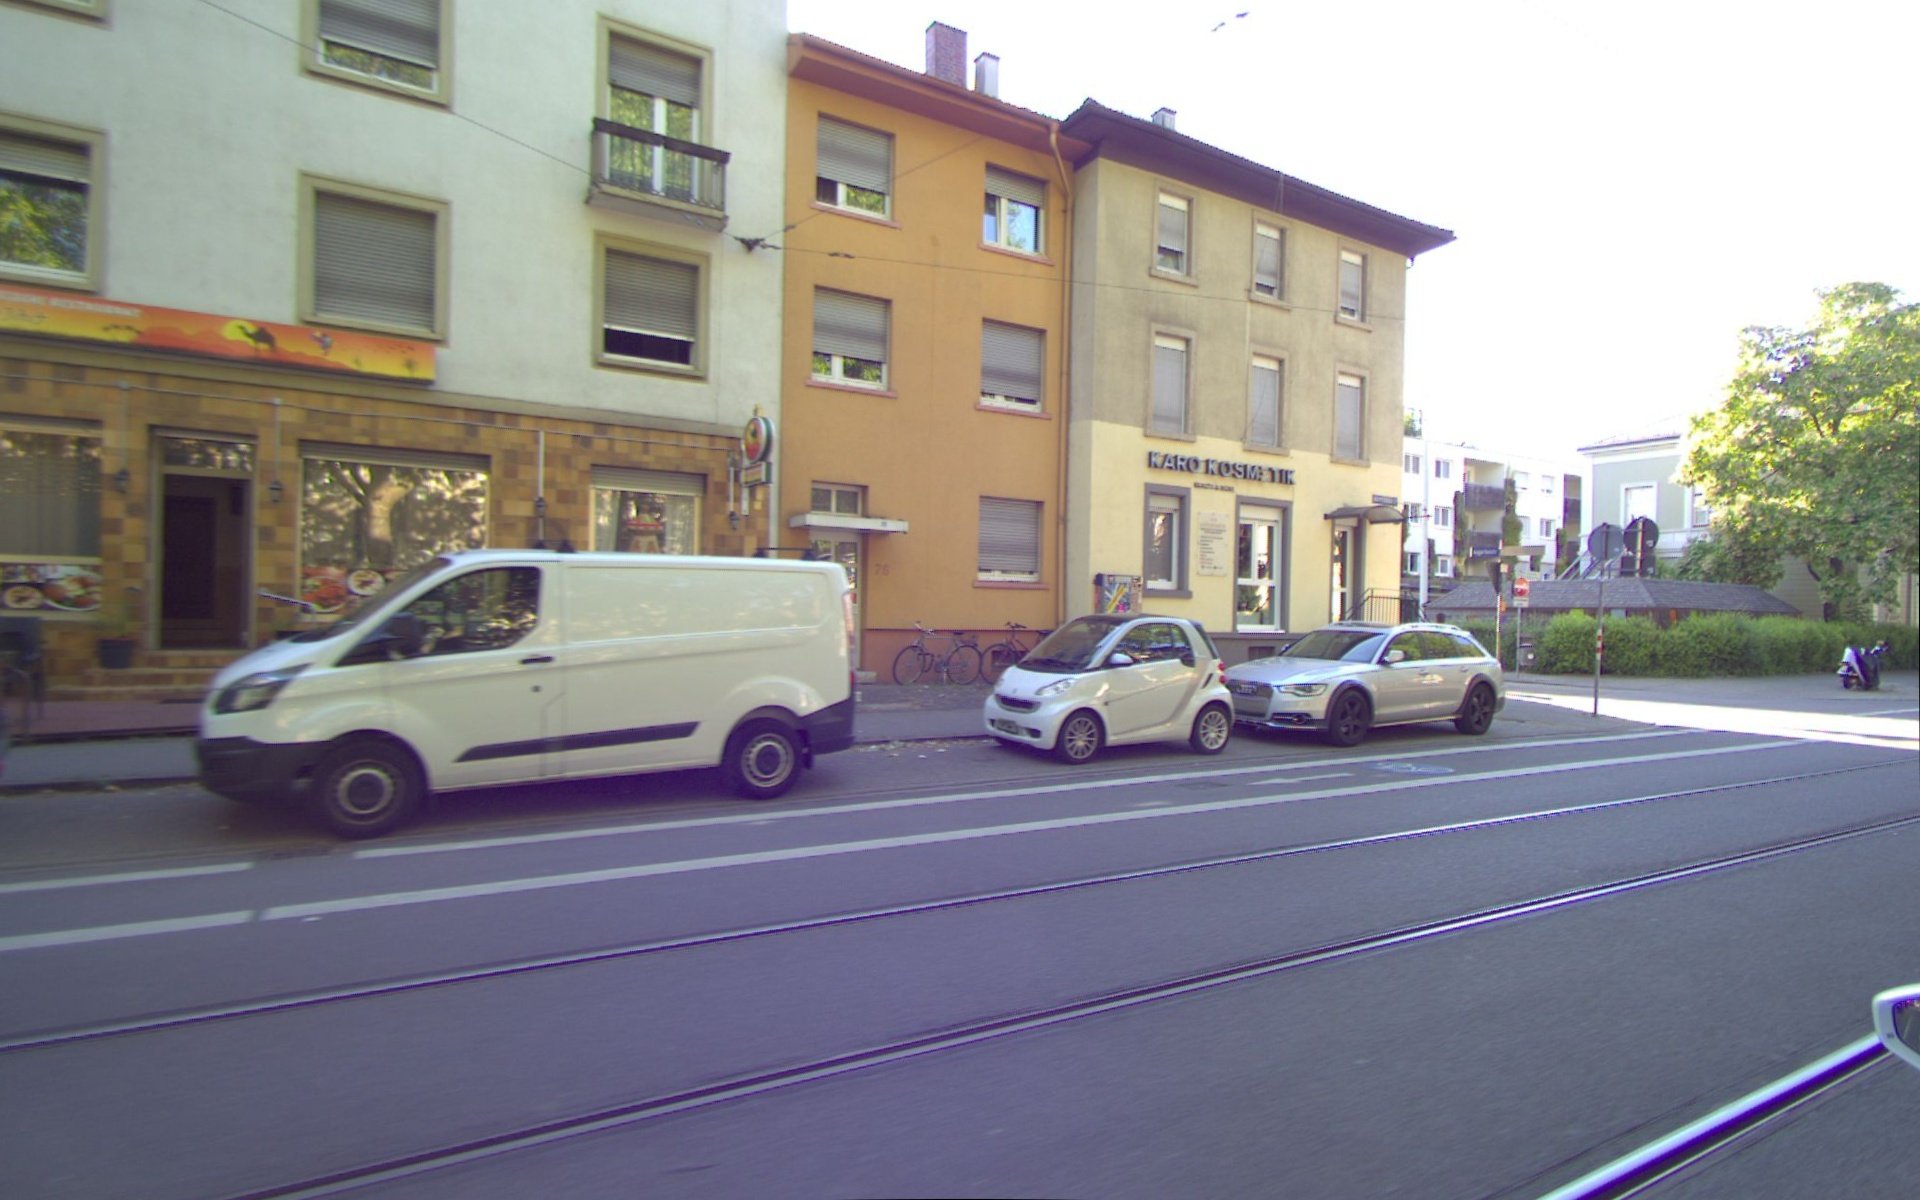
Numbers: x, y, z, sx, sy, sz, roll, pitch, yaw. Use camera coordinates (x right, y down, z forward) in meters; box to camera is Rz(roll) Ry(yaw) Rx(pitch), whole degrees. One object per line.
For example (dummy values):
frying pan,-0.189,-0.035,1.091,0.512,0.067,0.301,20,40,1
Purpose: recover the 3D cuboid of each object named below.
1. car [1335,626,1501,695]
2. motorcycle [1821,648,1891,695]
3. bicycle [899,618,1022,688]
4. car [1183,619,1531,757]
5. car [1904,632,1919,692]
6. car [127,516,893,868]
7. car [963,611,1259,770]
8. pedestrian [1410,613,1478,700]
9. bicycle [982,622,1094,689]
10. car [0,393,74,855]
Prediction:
car,11.646,1.487,25.782,1.782,1.579,3.672,1,-1,-21
motorcycle,24.173,1.912,27.085,2.302,1.122,0.759,-1,1,-31
bicycle,0.016,0.906,17.280,2.036,1.159,0.573,1,-1,-20
car,5.542,1.090,13.787,5.014,1.488,1.825,1,2,-33
car,28.311,1.771,28.030,4.295,1.608,1.777,1,2,-32
car,-3.311,0.538,8.243,5.191,2.120,1.941,1,3,-33
car,1.739,0.960,11.523,3.003,1.547,1.565,2,1,-29
pedestrian,9.259,1.067,19.220,0.931,1.613,0.783,2,-1,-30
bicycle,1.397,0.991,18.150,1.967,1.170,0.582,1,-1,0
car,-8.316,0.070,5.208,5.250,2.768,2.075,1,2,-32
